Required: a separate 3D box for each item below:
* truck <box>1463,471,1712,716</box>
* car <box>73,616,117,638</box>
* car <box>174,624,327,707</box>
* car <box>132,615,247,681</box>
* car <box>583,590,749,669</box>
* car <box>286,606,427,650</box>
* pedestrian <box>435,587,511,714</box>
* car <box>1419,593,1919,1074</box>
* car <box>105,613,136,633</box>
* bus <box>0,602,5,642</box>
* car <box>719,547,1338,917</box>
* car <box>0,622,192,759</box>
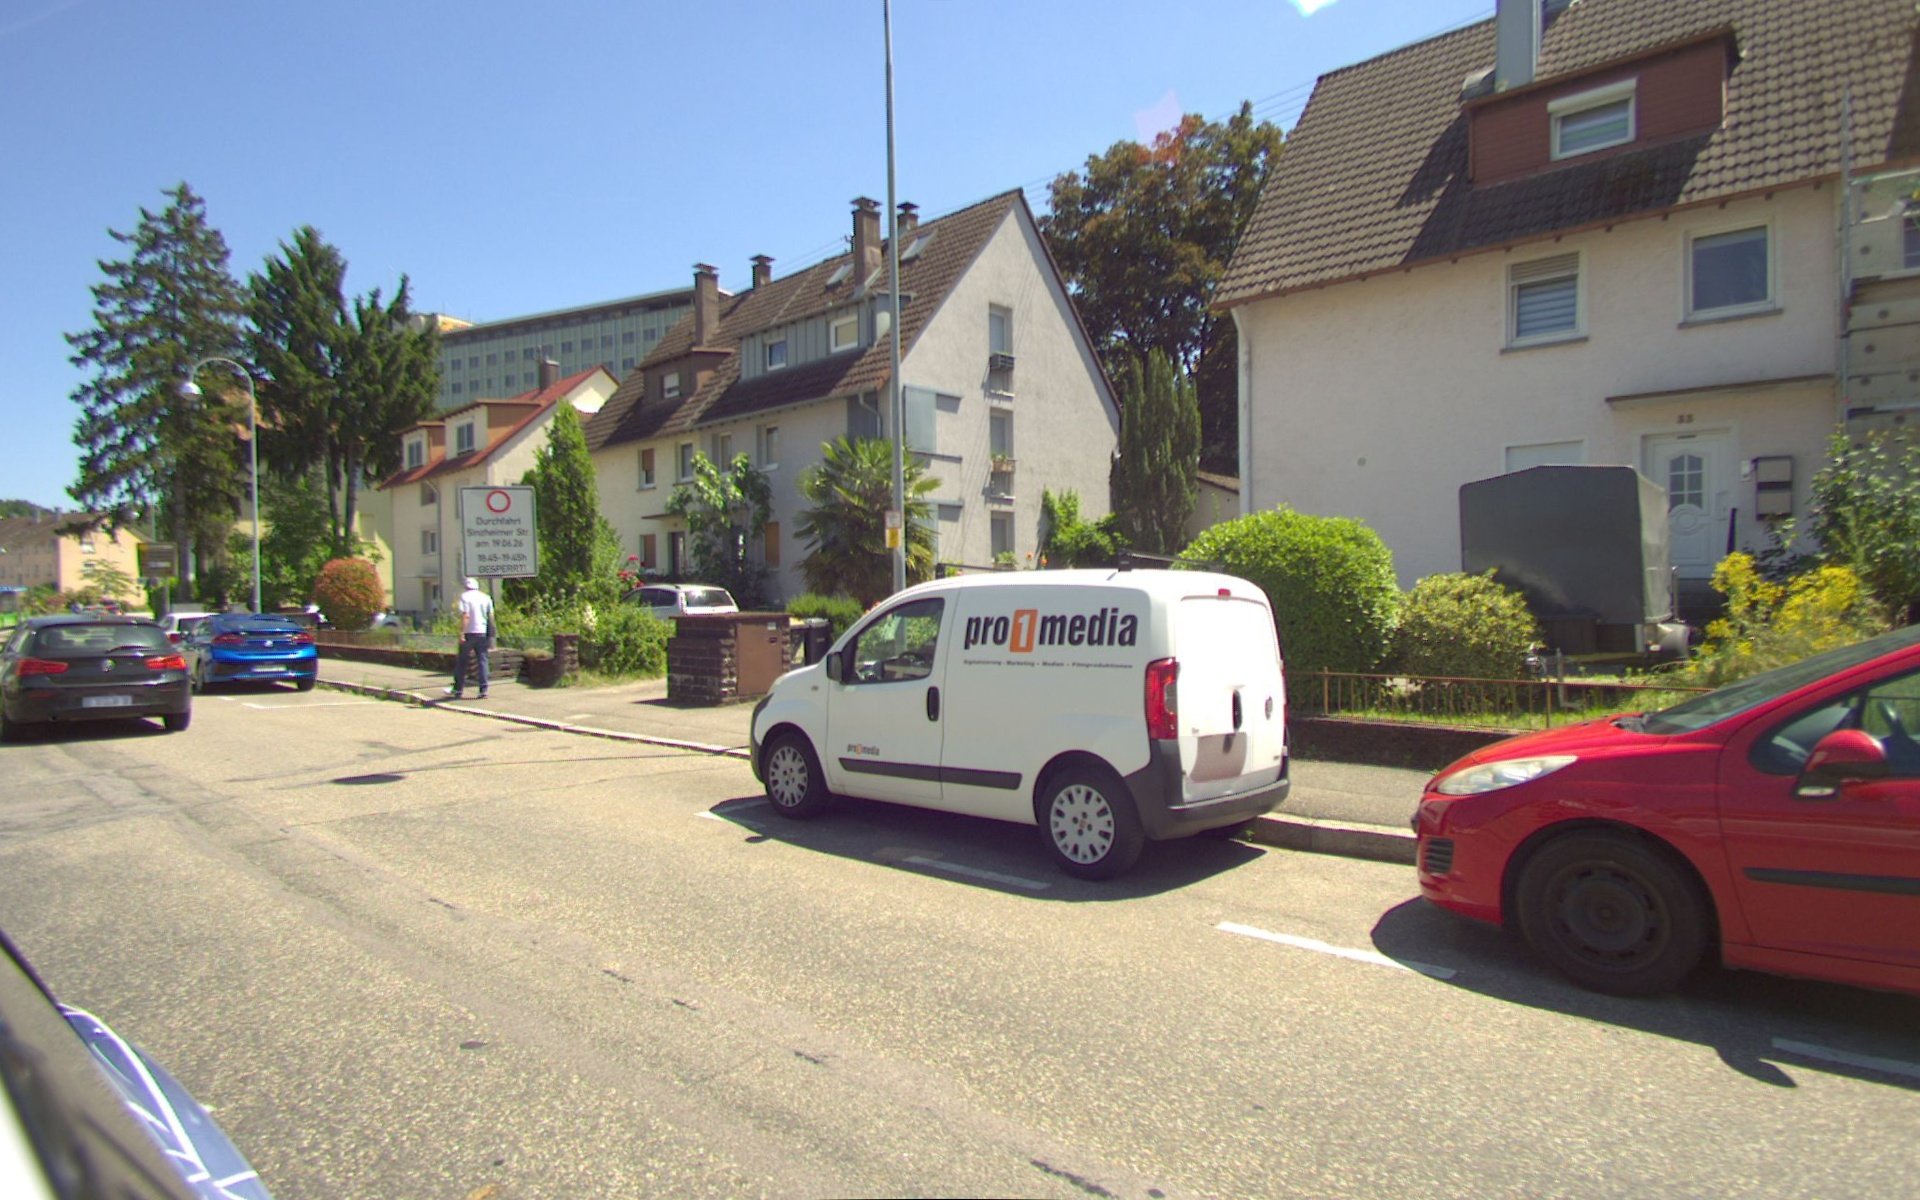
[{"bbox_3d":[6.323,-0.032,10.013,1.545,1.952,3.730,-2,-1,40],"label":"truck"},{"bbox_3d":[-60.094,1.875,70.381,1.717,1.516,4.154,1,-2,-32],"label":"car"},{"bbox_3d":[-13.867,1.199,19.682,1.748,1.450,4.365,2,-3,-44],"label":"car"},{"bbox_3d":[-18.299,1.114,23.975,3.941,1.434,1.561,-2,-3,44],"label":"car"},{"bbox_3d":[-6.860,0.596,23.367,4.363,1.519,1.749,2,3,44],"label":"car"},{"bbox_3d":[-23.387,1.042,39.316,4.414,1.452,1.849,-2,1,-42],"label":"car"},{"bbox_3d":[-7.792,0.778,16.192,0.681,1.903,1.020,-7,5,-43],"label":"pedestrian"},{"bbox_3d":[3.968,0.738,3.455,4.055,1.489,1.742,-2,-3,41],"label":"car"},{"bbox_3d":[-67.700,1.857,81.653,1.783,1.500,4.395,1,-3,-39],"label":"car"},{"bbox_3d":[-77.675,1.739,80.051,2.886,3.085,12.576,-1,0,-43],"label":"bus"},{"bbox_3d":[0.259,0.683,6.740,3.885,1.749,1.704,-1,-3,42],"label":"car"},{"bbox_3d":[-11.070,0.999,12.647,4.000,1.428,1.713,-1,-2,43],"label":"car"}]
